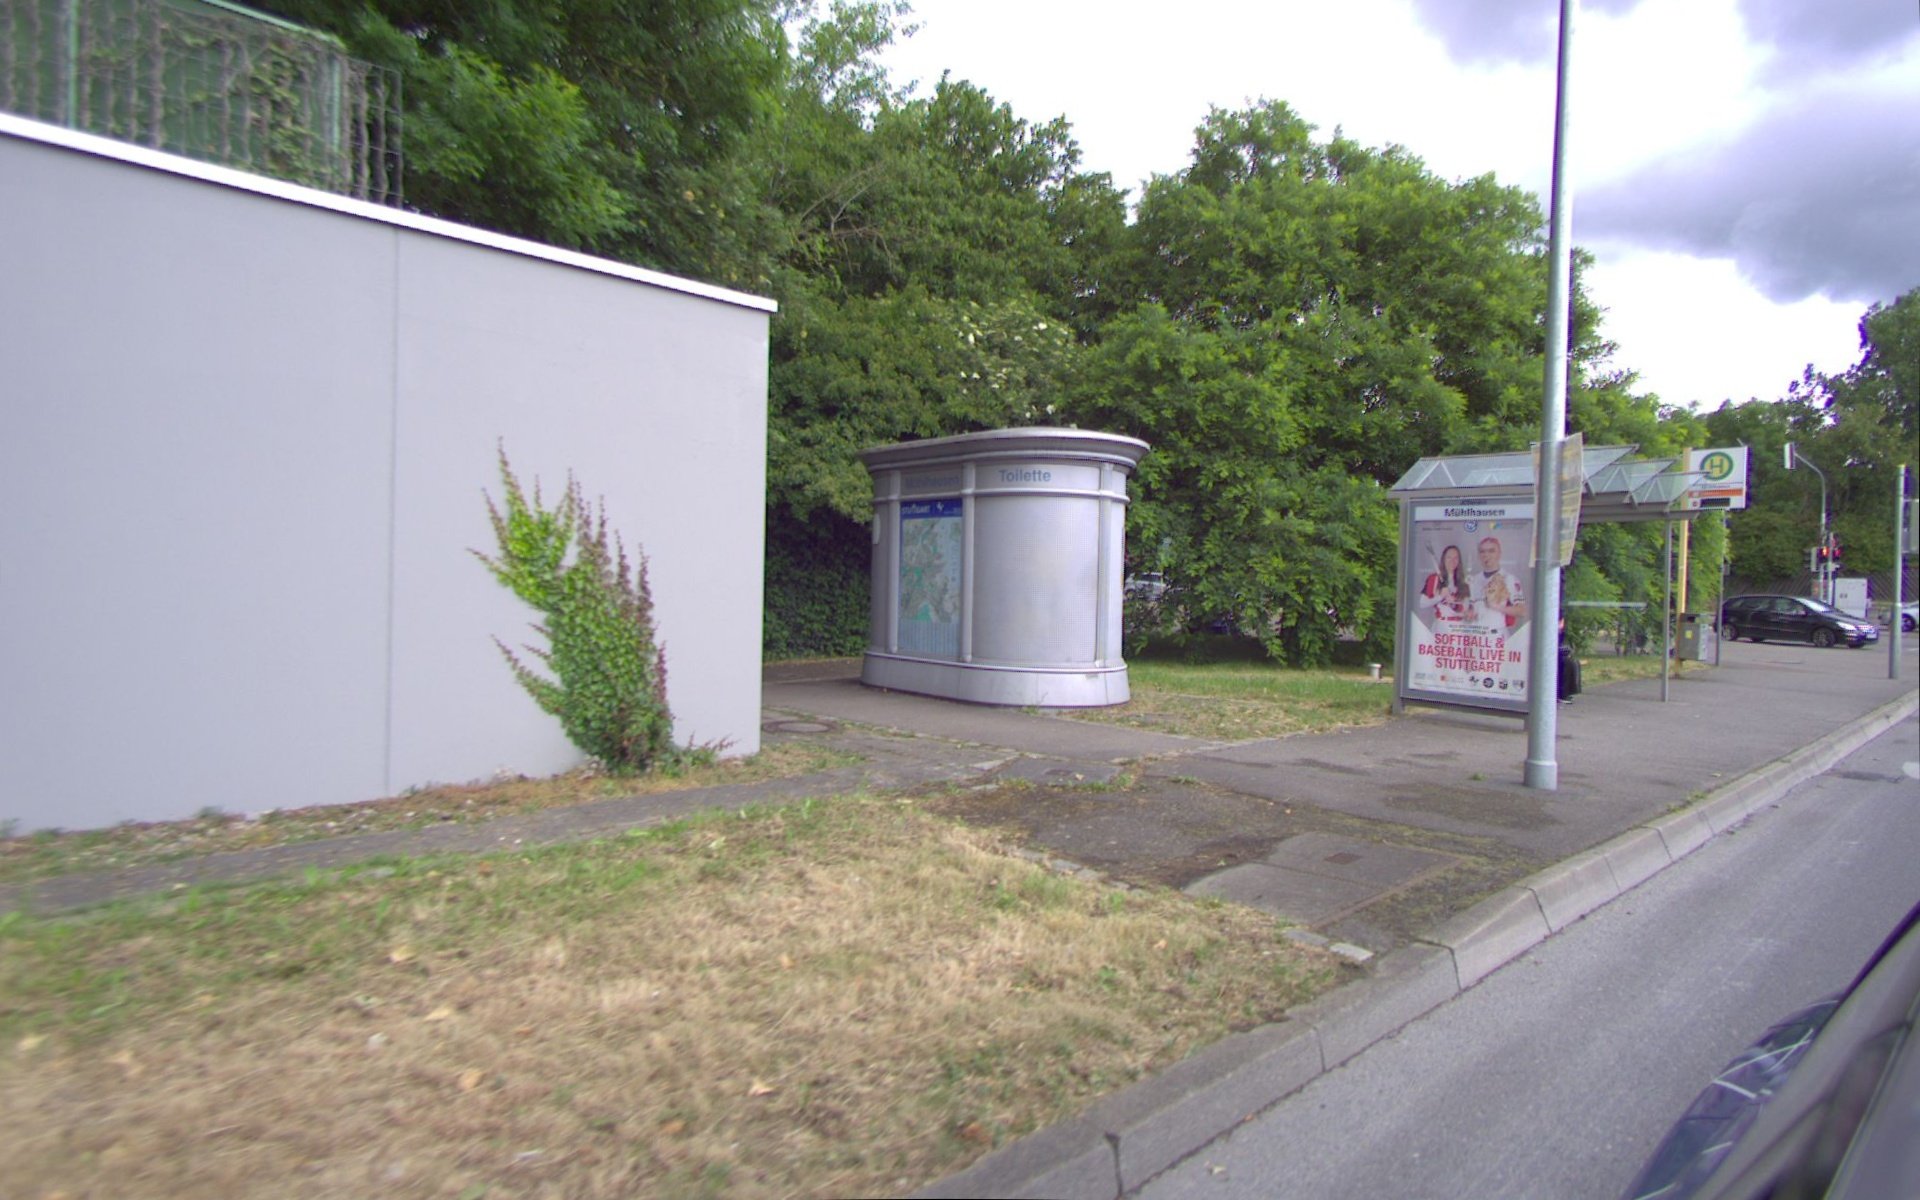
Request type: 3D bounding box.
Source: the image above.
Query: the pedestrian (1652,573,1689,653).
[{"bbox_3d":[16.028,0.284,22.836,0.676,1.776,0.420,0,0,-28],"label":"pedestrian"}]

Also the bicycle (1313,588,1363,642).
[{"bbox_3d":[10.051,0.388,26.894,0.644,1.389,1.631,1,0,44],"label":"bicycle"}]

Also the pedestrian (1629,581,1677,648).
[{"bbox_3d":[16.487,0.335,24.078,0.659,1.532,0.755,0,3,-41],"label":"pedestrian"}]

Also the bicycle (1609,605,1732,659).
[{"bbox_3d":[13.831,0.601,19.745,0.535,0.936,1.871,0,2,-39],"label":"bicycle"}]

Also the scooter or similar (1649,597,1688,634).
[{"bbox_3d":[22.470,0.487,32.088,1.209,1.126,0.654,0,2,-38],"label":"scooter or similar"}]

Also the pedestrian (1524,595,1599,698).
[{"bbox_3d":[7.289,0.544,12.264,0.537,1.172,0.602,0,2,-41],"label":"pedestrian"}]

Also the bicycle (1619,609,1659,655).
[{"bbox_3d":[14.715,0.685,21.911,0.522,0.917,1.825,3,1,39],"label":"bicycle"}]

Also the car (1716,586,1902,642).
[{"bbox_3d":[26.710,0.382,32.025,1.686,1.550,4.196,0,2,-21],"label":"car"}]

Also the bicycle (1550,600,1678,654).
[{"bbox_3d":[12.434,0.493,19.315,0.579,0.951,2.048,1,1,-26],"label":"bicycle"}]

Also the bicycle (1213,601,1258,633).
[{"bbox_3d":[7.765,0.462,28.496,0.476,0.867,1.631,1,0,44],"label":"bicycle"}]

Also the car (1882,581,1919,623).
[{"bbox_3d":[39.441,0.113,40.059,1.718,1.661,4.122,0,2,-38],"label":"car"}]
